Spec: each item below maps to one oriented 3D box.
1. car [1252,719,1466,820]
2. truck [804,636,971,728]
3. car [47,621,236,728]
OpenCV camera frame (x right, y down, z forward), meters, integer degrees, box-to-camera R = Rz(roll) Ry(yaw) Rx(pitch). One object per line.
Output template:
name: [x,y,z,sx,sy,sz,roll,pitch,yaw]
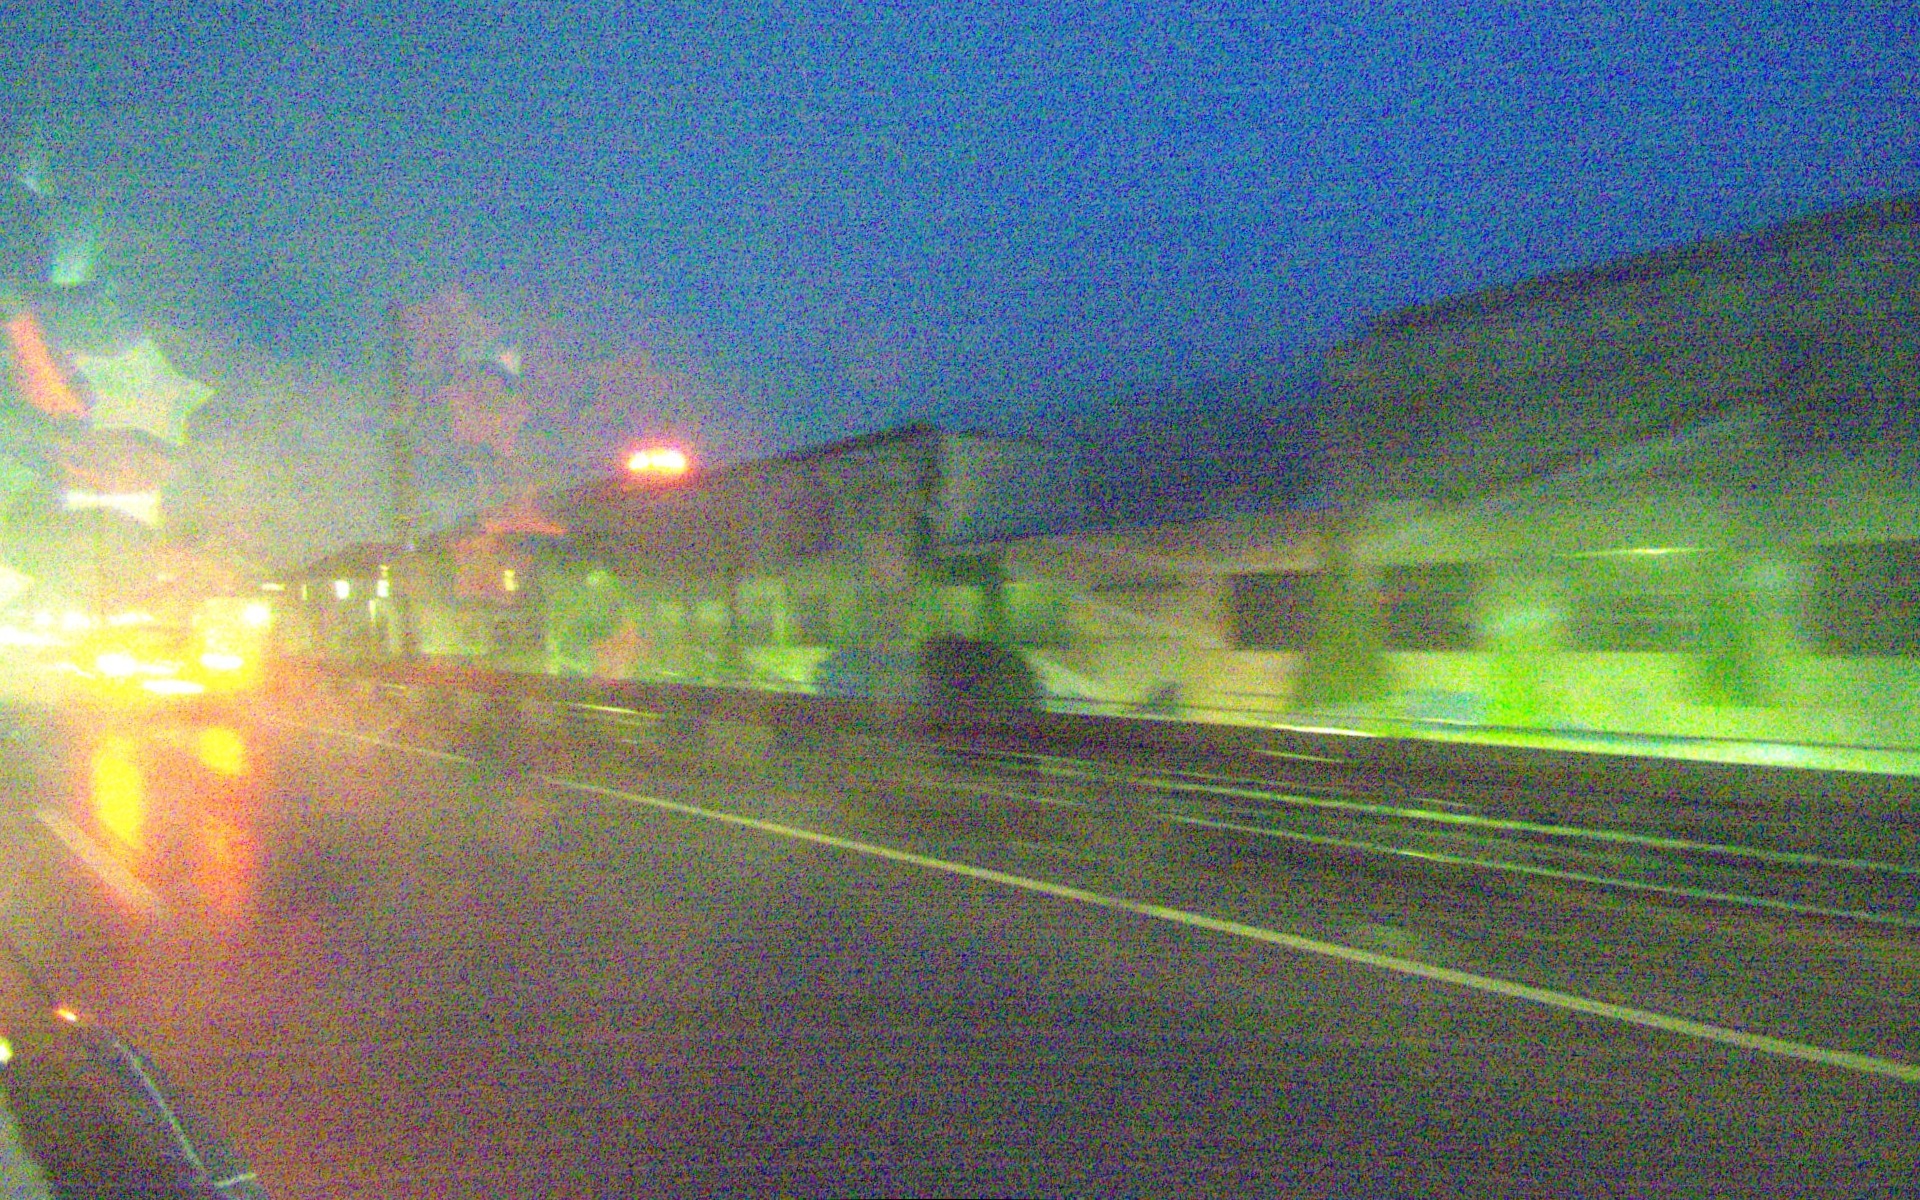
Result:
car: [9.234,3.858,23.625,4.290,1.688,1.790,-1,0,41]
truck: [-3.318,3.388,43.928,2.723,3.509,8.112,0,-1,-43]
car: [-12.980,1.068,15.961,4.064,1.428,1.694,-1,0,42]
